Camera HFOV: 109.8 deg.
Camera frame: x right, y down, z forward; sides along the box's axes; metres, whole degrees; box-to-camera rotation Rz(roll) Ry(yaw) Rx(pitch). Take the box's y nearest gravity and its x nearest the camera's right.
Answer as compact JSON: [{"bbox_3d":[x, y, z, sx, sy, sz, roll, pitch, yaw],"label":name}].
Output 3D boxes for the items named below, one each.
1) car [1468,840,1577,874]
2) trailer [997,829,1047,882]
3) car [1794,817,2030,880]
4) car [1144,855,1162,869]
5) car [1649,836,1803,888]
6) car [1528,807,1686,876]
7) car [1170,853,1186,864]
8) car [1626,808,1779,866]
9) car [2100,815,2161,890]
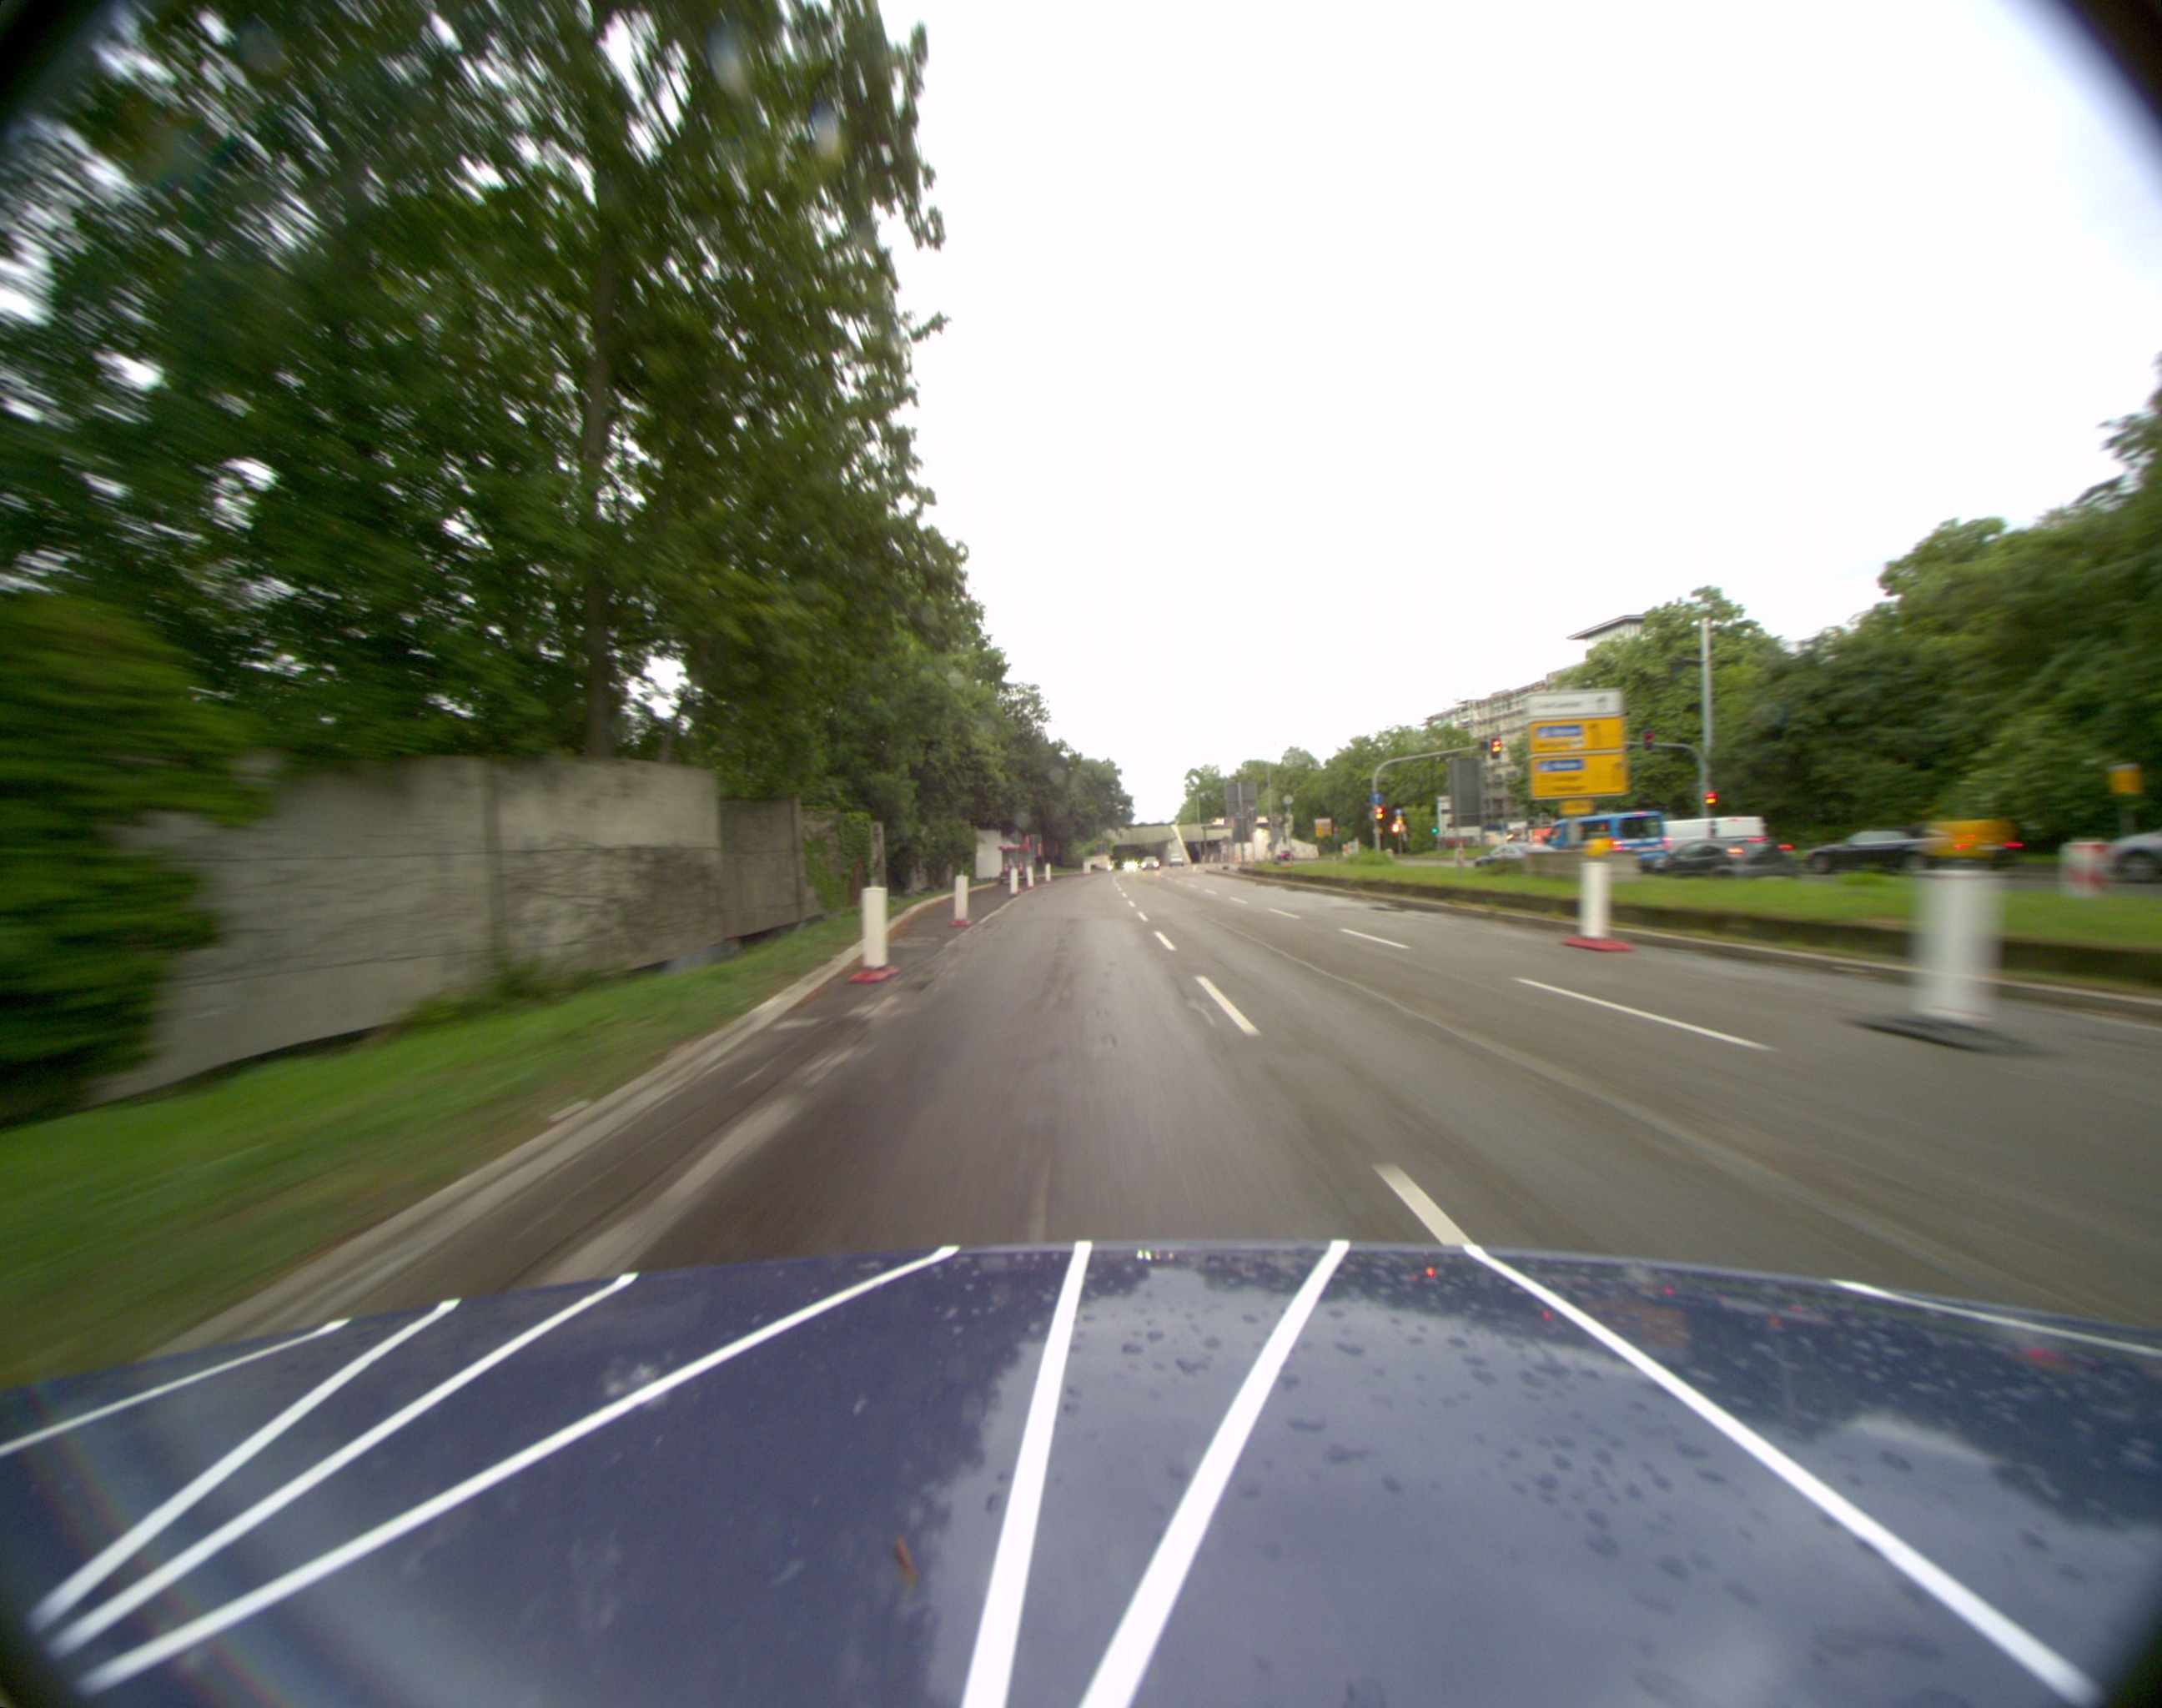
[{"bbox_3d":[17.625,0.106,30.606,1.553,1.193,4.645,-3,0,-1],"label":"car"},{"bbox_3d":[-4.230,0.072,55.399,2.312,3.568,5.963,-1,1,8],"label":"trailer"},{"bbox_3d":[23.387,-0.146,21.713,1.797,1.514,4.635,-3,0,4],"label":"car"},{"bbox_3d":[8.006,0.850,84.470,1.696,1.393,3.828,-2,0,10],"label":"car"},{"bbox_3d":[17.165,0.185,20.410,1.433,1.193,3.300,-3,0,4],"label":"car"},{"bbox_3d":[20.993,-0.419,30.791,2.200,2.376,6.246,-3,-1,3],"label":"car"},{"bbox_3d":[12.514,0.605,98.229,1.697,1.300,3.826,-2,0,4],"label":"car"},{"bbox_3d":[24.251,-0.580,29.959,2.039,1.962,4.992,-3,-1,3],"label":"car"},{"bbox_3d":[22.951,-0.058,14.623,1.675,1.514,3.790,-3,0,4],"label":"car"}]
